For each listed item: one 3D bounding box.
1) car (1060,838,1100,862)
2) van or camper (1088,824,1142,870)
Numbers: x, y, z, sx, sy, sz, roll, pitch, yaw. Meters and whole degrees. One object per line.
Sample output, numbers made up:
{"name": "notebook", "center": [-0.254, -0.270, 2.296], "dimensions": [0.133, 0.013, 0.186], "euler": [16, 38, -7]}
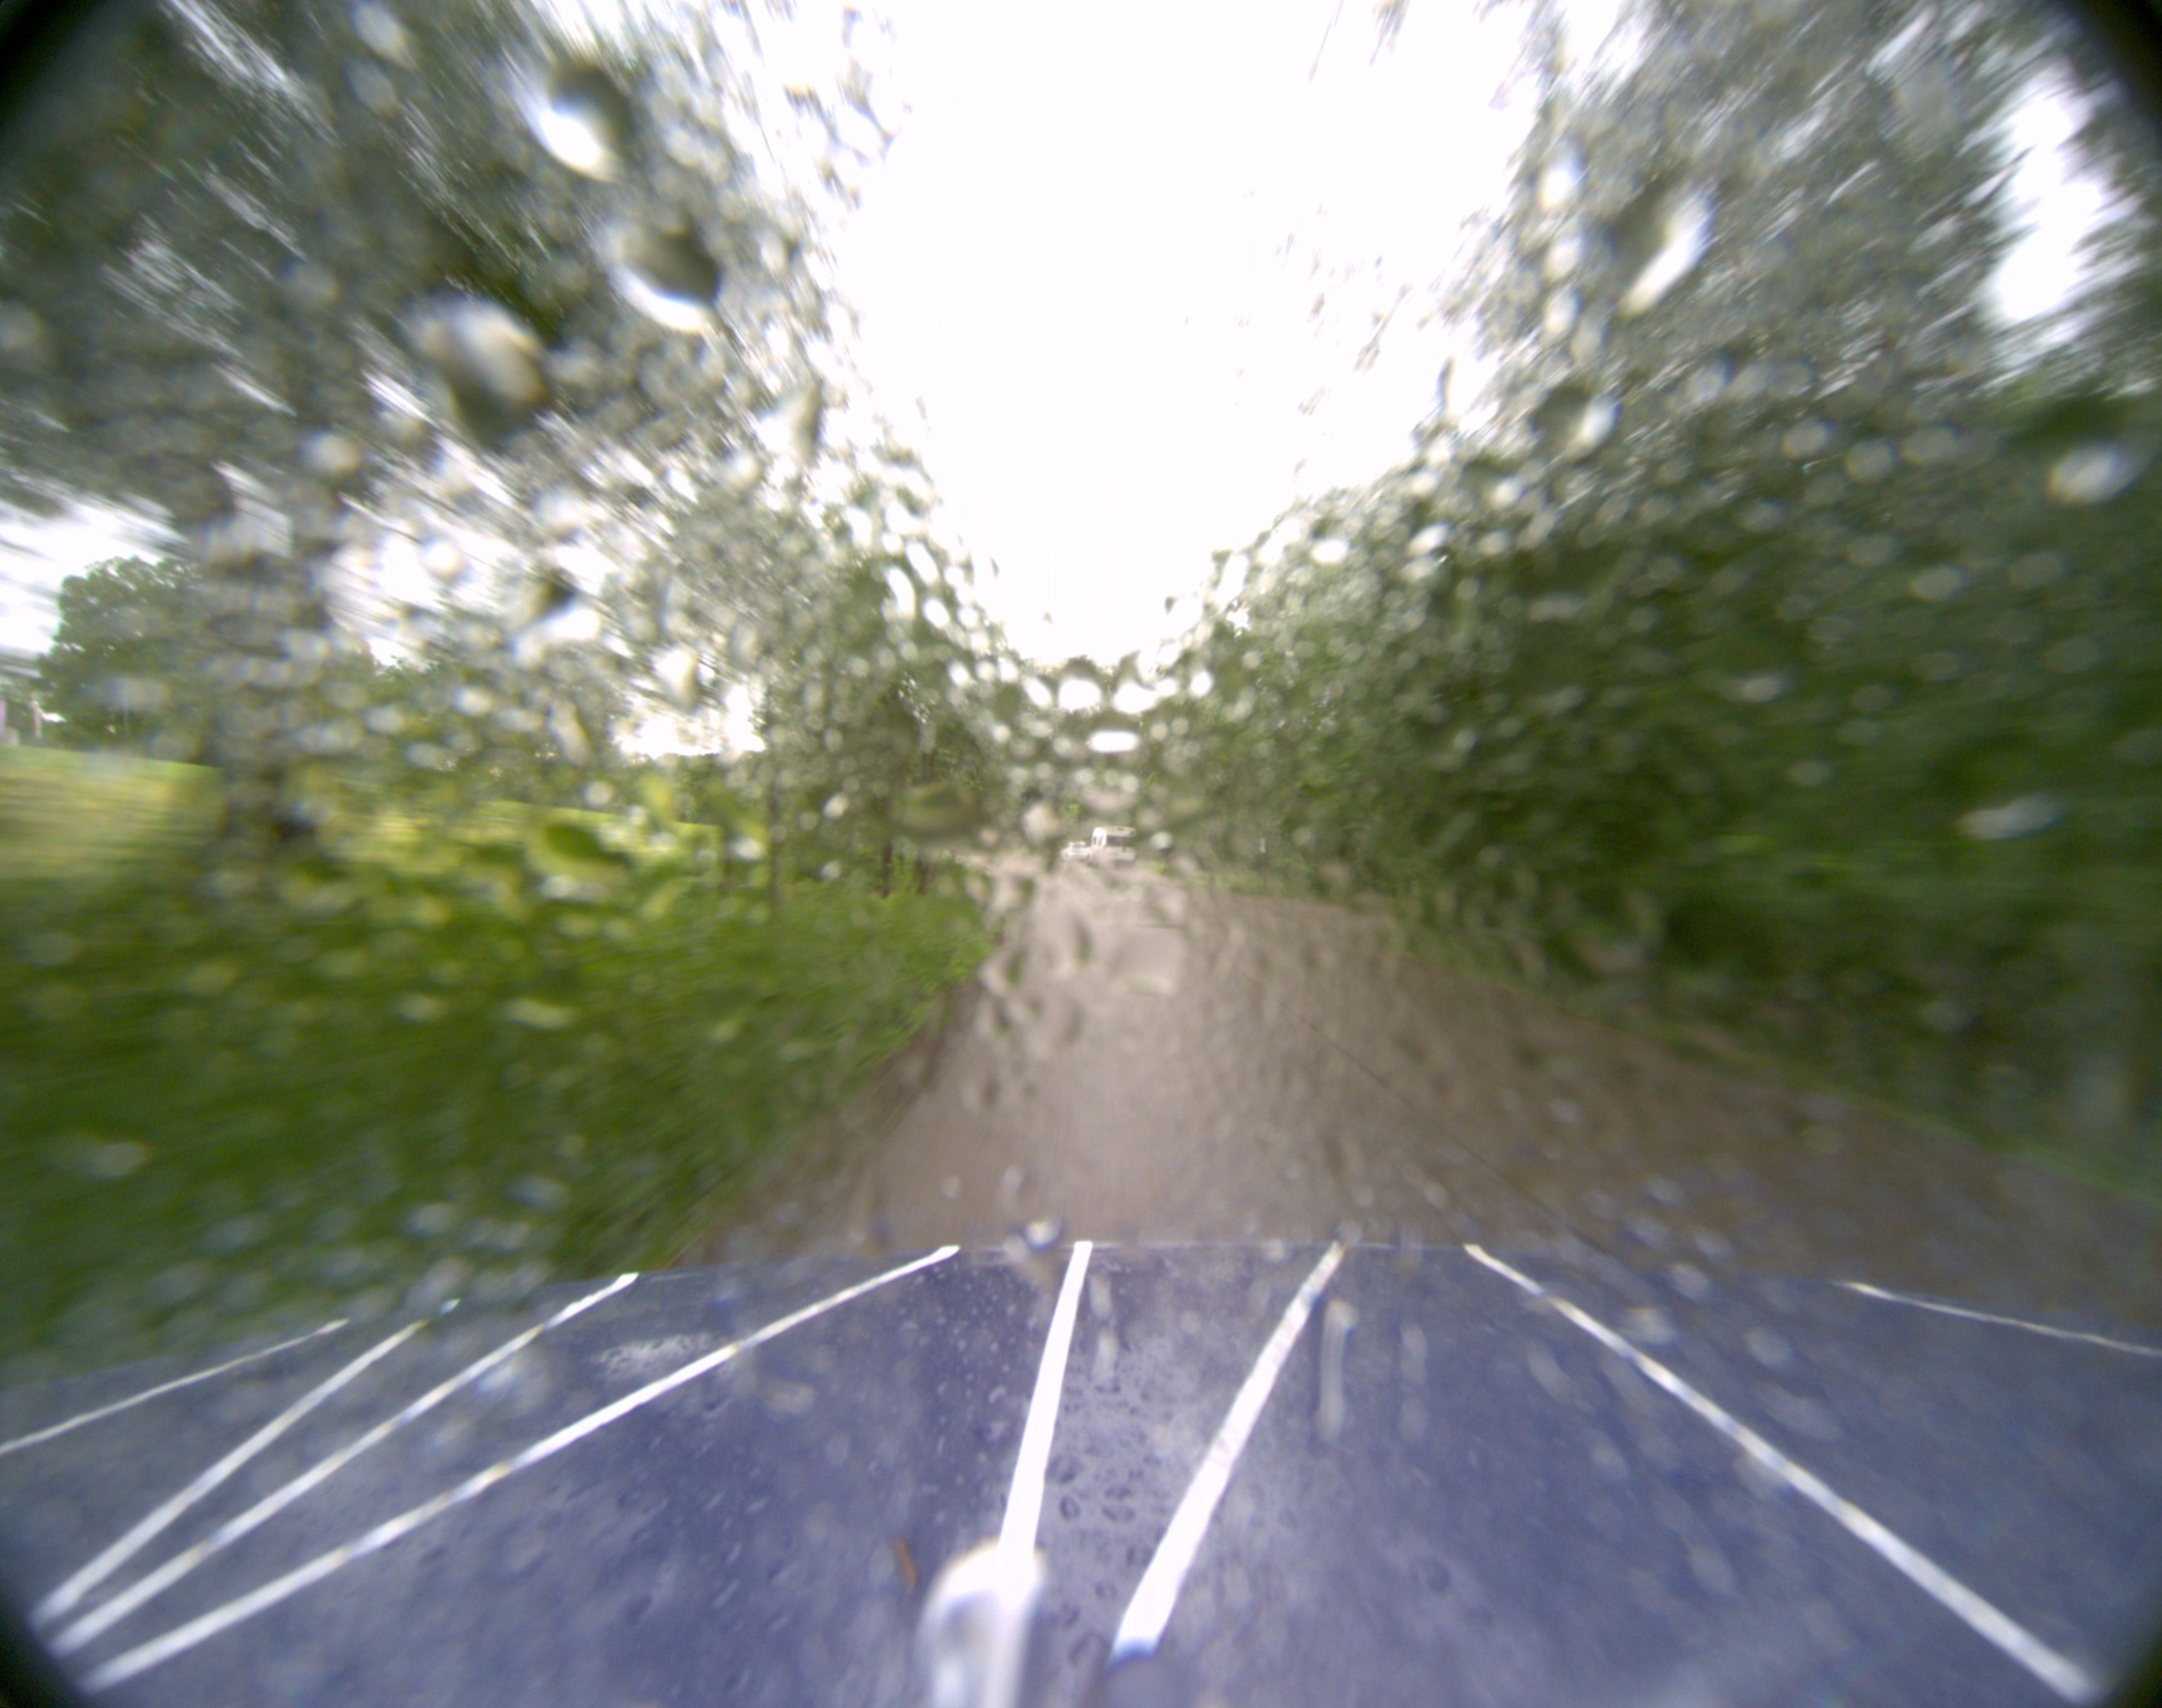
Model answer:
{"name": "car", "center": [-0.140, -0.332, 54.887], "dimensions": [2.105, 1.571, 4.553], "euler": [4, 1, -9]}
{"name": "van or camper", "center": [1.984, -0.448, 46.128], "dimensions": [2.204, 2.501, 4.831], "euler": [4, 1, -9]}
